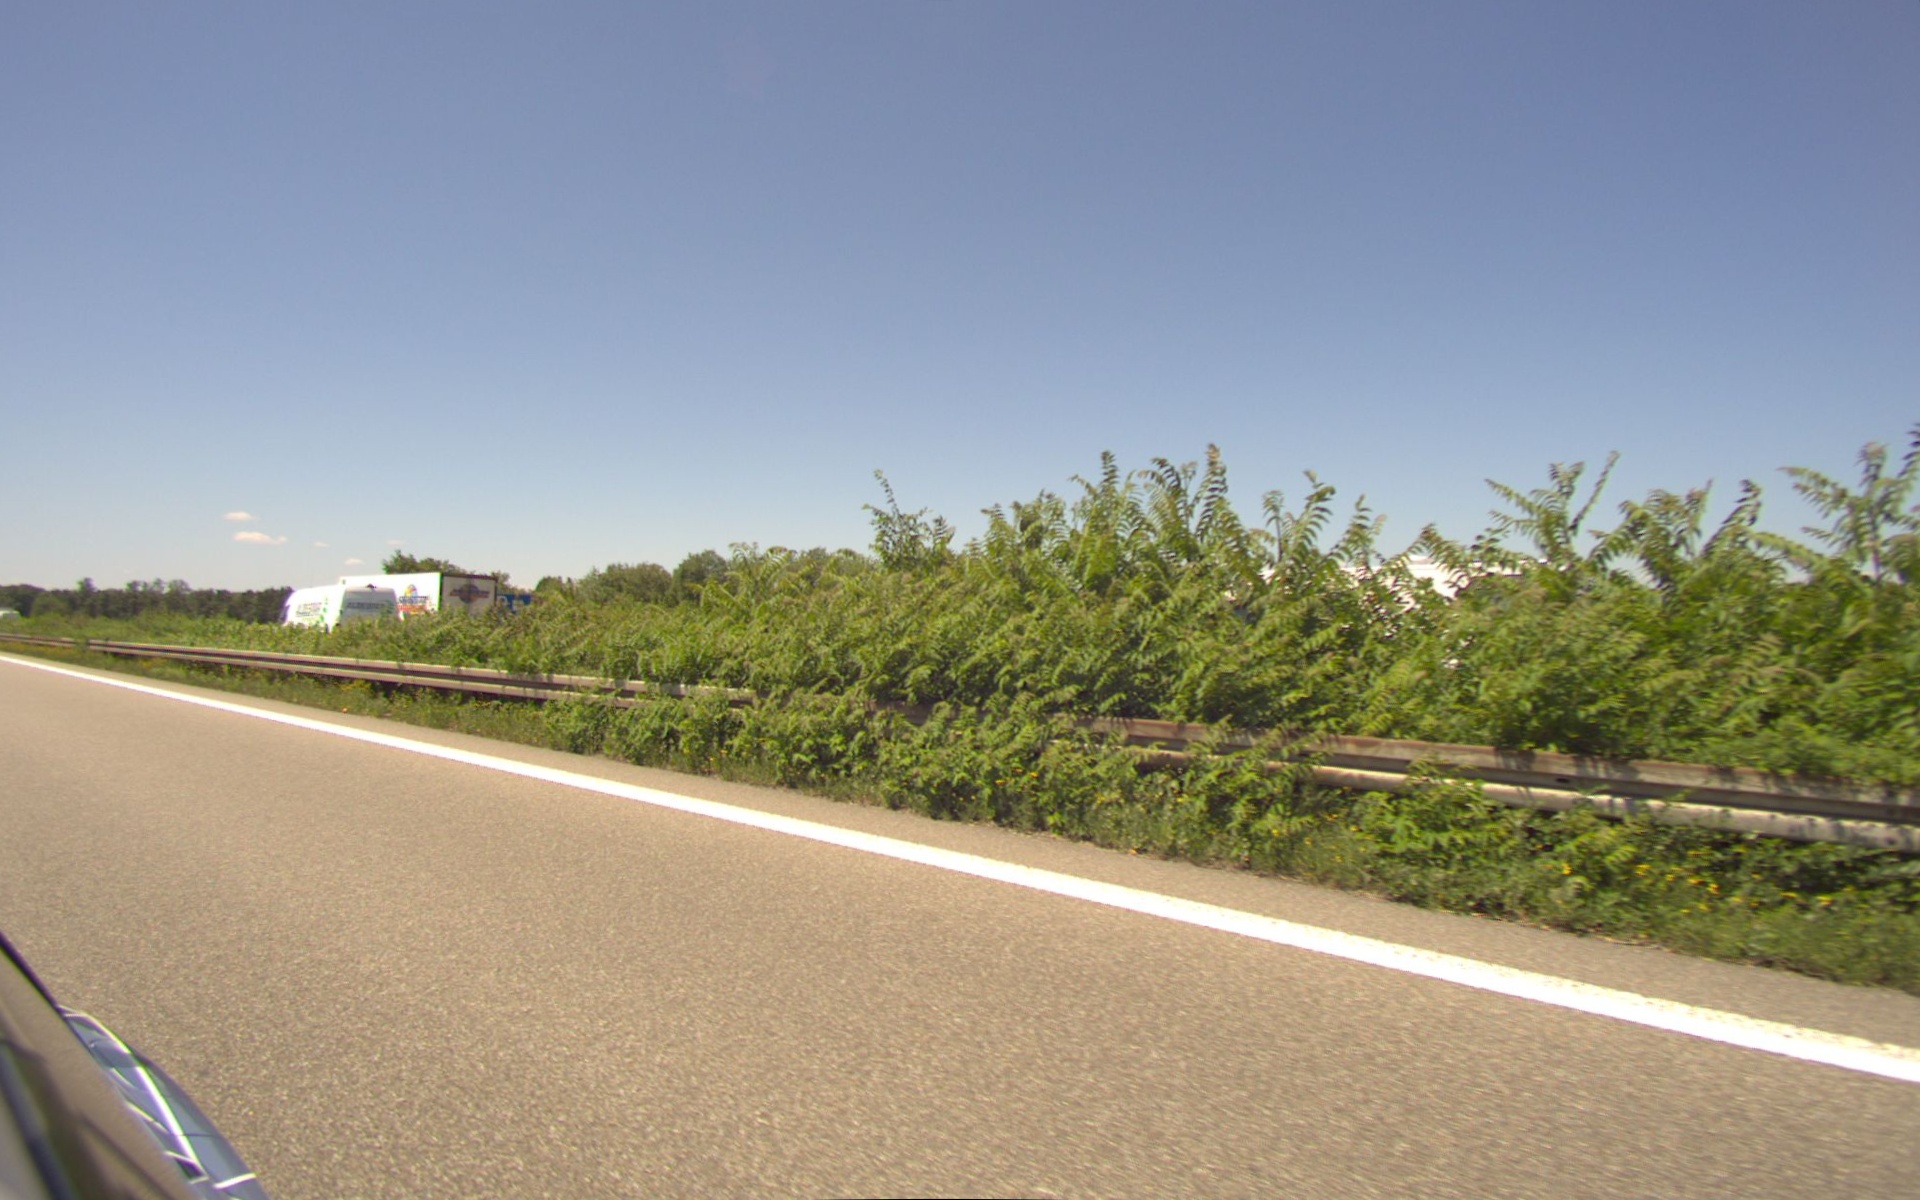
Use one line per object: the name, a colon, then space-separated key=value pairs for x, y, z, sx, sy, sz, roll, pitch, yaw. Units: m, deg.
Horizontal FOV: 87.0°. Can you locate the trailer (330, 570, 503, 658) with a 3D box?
trailer: x=-27.499 y=0.685 z=50.641 sx=13.903 sy=3.899 sz=2.903 roll=-1 pitch=0 yaw=41

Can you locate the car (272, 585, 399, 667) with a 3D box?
car: x=-21.334 y=0.844 z=34.400 sx=6.775 sy=2.519 sz=1.787 roll=-1 pitch=0 yaw=42

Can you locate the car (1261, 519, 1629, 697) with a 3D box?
car: x=8.587 y=0.140 z=18.257 sx=5.517 sy=2.729 sz=2.444 roll=-1 pitch=0 yaw=41

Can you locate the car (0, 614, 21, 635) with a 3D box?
car: x=-114.878 y=2.961 z=121.699 sx=6.729 sy=2.412 sz=2.059 roll=-1 pitch=0 yaw=41

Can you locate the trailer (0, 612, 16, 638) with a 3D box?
trailer: x=-161.956 y=4.186 z=170.418 sx=14.320 sy=4.089 sz=2.924 roll=-1 pitch=0 yaw=42

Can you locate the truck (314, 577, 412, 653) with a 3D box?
truck: x=-32.528 y=0.779 z=55.067 sx=5.749 sy=3.899 sz=2.903 roll=-1 pitch=0 yaw=41
